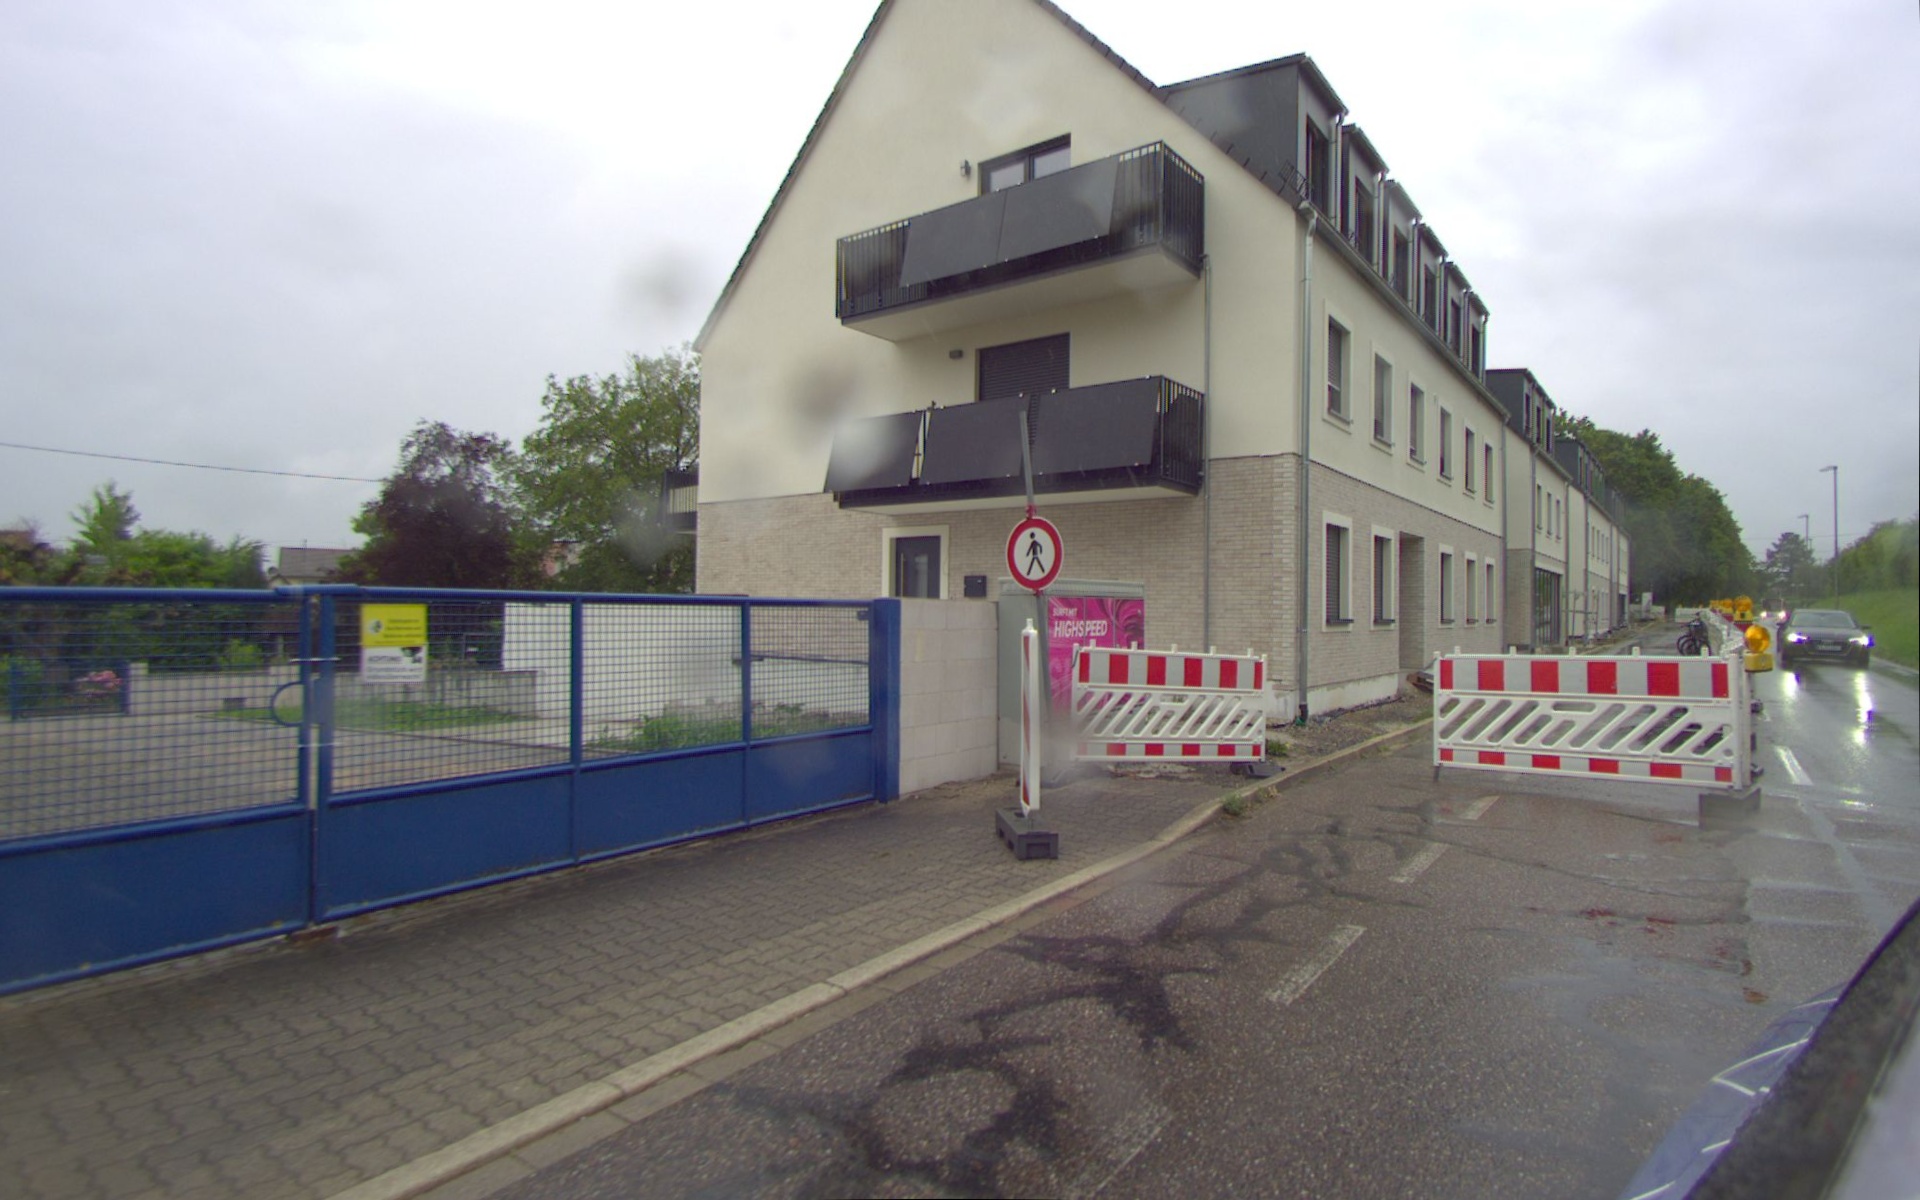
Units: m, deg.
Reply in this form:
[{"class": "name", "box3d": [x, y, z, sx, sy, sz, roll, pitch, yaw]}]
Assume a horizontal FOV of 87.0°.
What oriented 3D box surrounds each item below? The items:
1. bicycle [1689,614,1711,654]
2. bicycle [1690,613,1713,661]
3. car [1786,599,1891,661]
[{"class": "bicycle", "box3d": [20.090, 0.907, 27.477, 0.405, 1.041, 1.204, 1, 1, 39]}, {"class": "bicycle", "box3d": [18.822, 0.927, 25.670, 0.405, 1.157, 1.204, 1, 1, 39]}, {"class": "car", "box3d": [23.928, 0.749, 27.696, 1.843, 1.470, 4.471, 2, 1, 37]}]
